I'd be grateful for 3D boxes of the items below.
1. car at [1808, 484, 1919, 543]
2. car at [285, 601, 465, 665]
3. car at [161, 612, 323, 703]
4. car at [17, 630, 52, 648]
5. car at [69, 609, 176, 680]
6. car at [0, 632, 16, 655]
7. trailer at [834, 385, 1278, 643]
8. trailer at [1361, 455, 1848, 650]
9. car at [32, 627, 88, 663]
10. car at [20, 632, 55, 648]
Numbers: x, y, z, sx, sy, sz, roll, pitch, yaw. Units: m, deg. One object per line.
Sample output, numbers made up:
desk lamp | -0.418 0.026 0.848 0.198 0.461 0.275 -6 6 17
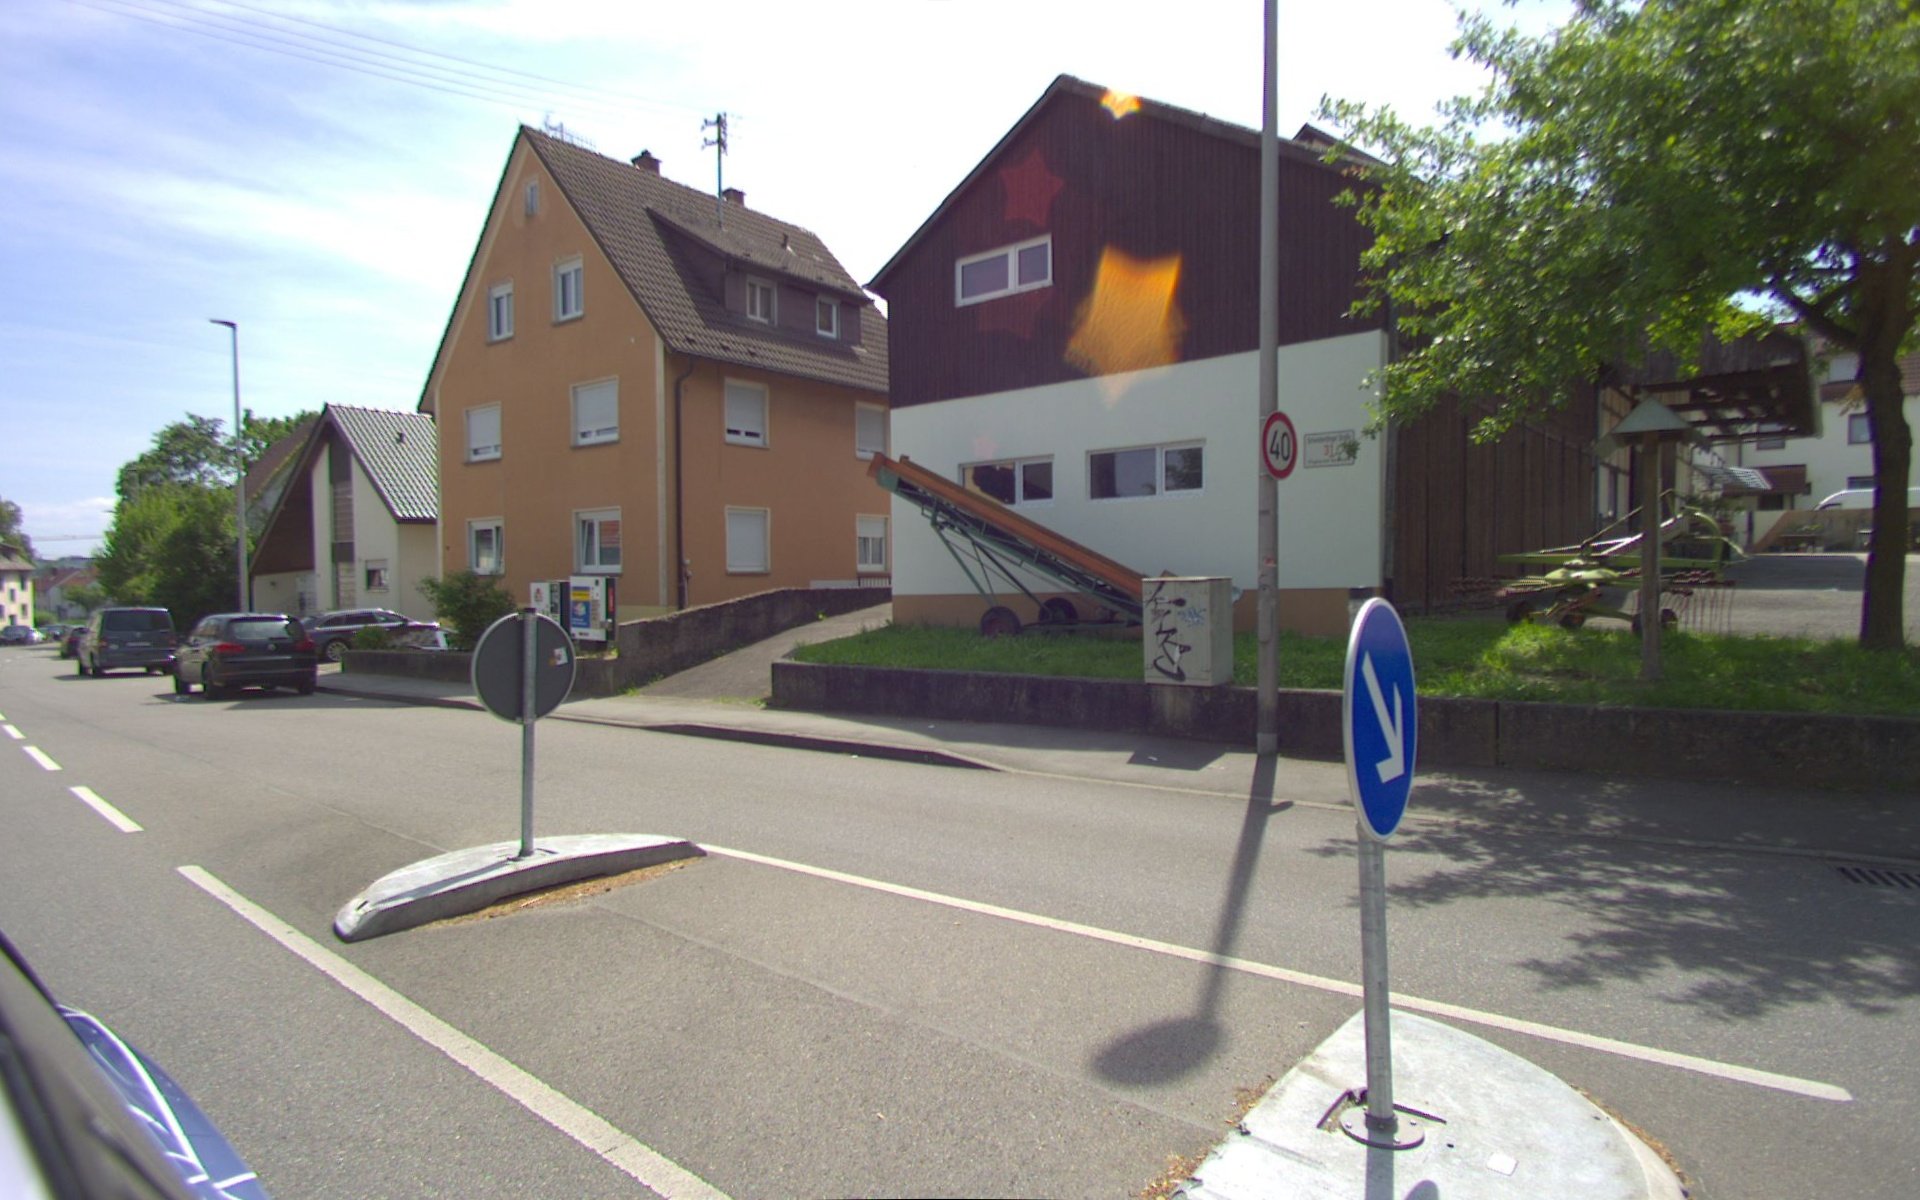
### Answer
car | 36.251 -3.384 39.602 4.656 2.029 1.973 -1 1 41
car | -17.297 0.941 30.077 1.819 1.415 4.189 -2 3 39
car | -14.535 1.103 20.410 4.286 1.648 1.750 -2 -2 41
car | -82.337 3.435 90.077 1.765 1.466 4.727 -1 -1 -36
car | -24.806 1.261 29.911 4.987 1.952 1.870 -1 -2 44
car | -77.459 3.505 81.230 1.928 1.729 4.727 -1 -1 -36
trailer | 1.024 -0.915 13.935 6.170 2.870 1.695 -2 0 41
trailer | 6.787 -0.531 10.882 3.644 1.704 2.774 -4 2 -22
car | -40.295 1.995 45.270 1.797 1.484 4.780 0 -2 -43
car | -86.630 3.753 95.110 1.764 1.431 4.370 -1 -1 -33
